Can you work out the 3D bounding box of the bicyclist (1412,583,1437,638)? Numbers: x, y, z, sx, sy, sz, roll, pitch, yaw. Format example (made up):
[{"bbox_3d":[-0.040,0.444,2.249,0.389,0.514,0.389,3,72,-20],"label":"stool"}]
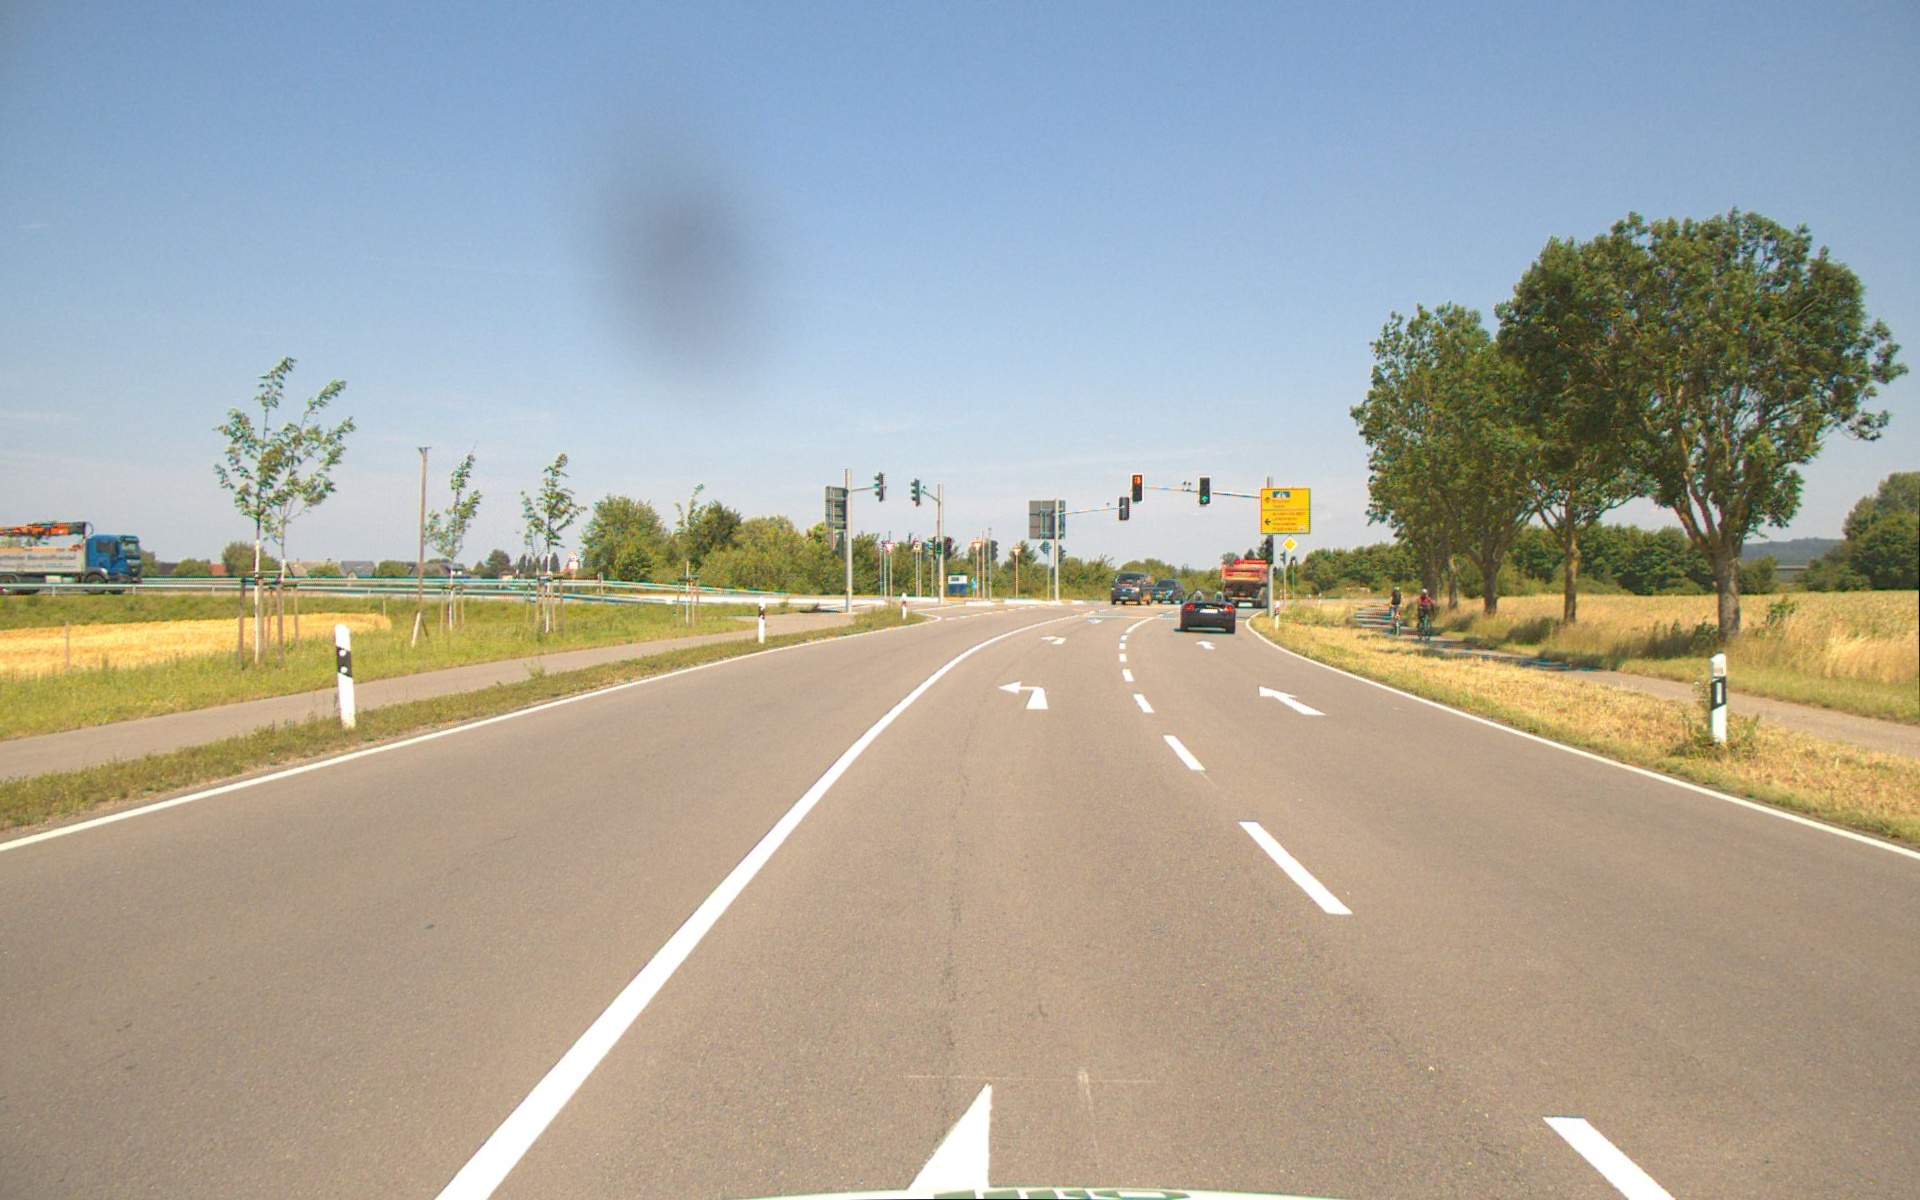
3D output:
[{"bbox_3d":[15.914,0.355,56.688,0.614,1.813,0.979,5,2,11],"label":"bicyclist"}]

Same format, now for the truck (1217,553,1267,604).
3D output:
[{"bbox_3d":[18.120,-1.315,105.956,2.656,3.106,8.171,1,0,13],"label":"truck"}]

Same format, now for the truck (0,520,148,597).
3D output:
[{"bbox_3d":[-48.159,-2.184,86.372,9.891,3.859,2.621,1,1,-8],"label":"truck"}]

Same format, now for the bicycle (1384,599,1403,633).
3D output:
[{"bbox_3d":[15.912,0.582,60.639,0.593,1.197,2.052,4,1,15],"label":"bicycle"}]

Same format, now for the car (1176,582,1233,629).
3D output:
[{"bbox_3d":[7.852,0.193,52.964,1.710,1.400,3.682,2,-1,10],"label":"car"}]

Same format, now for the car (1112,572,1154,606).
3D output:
[{"bbox_3d":[10.681,-0.716,101.779,1.889,2.012,4.688,1,1,15],"label":"car"}]

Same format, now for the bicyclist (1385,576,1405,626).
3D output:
[{"bbox_3d":[15.936,0.028,60.594,0.575,1.764,1.173,5,2,15],"label":"bicyclist"}]

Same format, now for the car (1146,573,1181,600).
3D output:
[{"bbox_3d":[14.049,-0.956,114.129,1.889,1.770,4.893,1,1,13],"label":"car"}]

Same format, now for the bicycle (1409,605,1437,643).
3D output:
[{"bbox_3d":[15.854,0.803,56.667,0.684,1.231,2.053,3,1,11],"label":"bicycle"}]
